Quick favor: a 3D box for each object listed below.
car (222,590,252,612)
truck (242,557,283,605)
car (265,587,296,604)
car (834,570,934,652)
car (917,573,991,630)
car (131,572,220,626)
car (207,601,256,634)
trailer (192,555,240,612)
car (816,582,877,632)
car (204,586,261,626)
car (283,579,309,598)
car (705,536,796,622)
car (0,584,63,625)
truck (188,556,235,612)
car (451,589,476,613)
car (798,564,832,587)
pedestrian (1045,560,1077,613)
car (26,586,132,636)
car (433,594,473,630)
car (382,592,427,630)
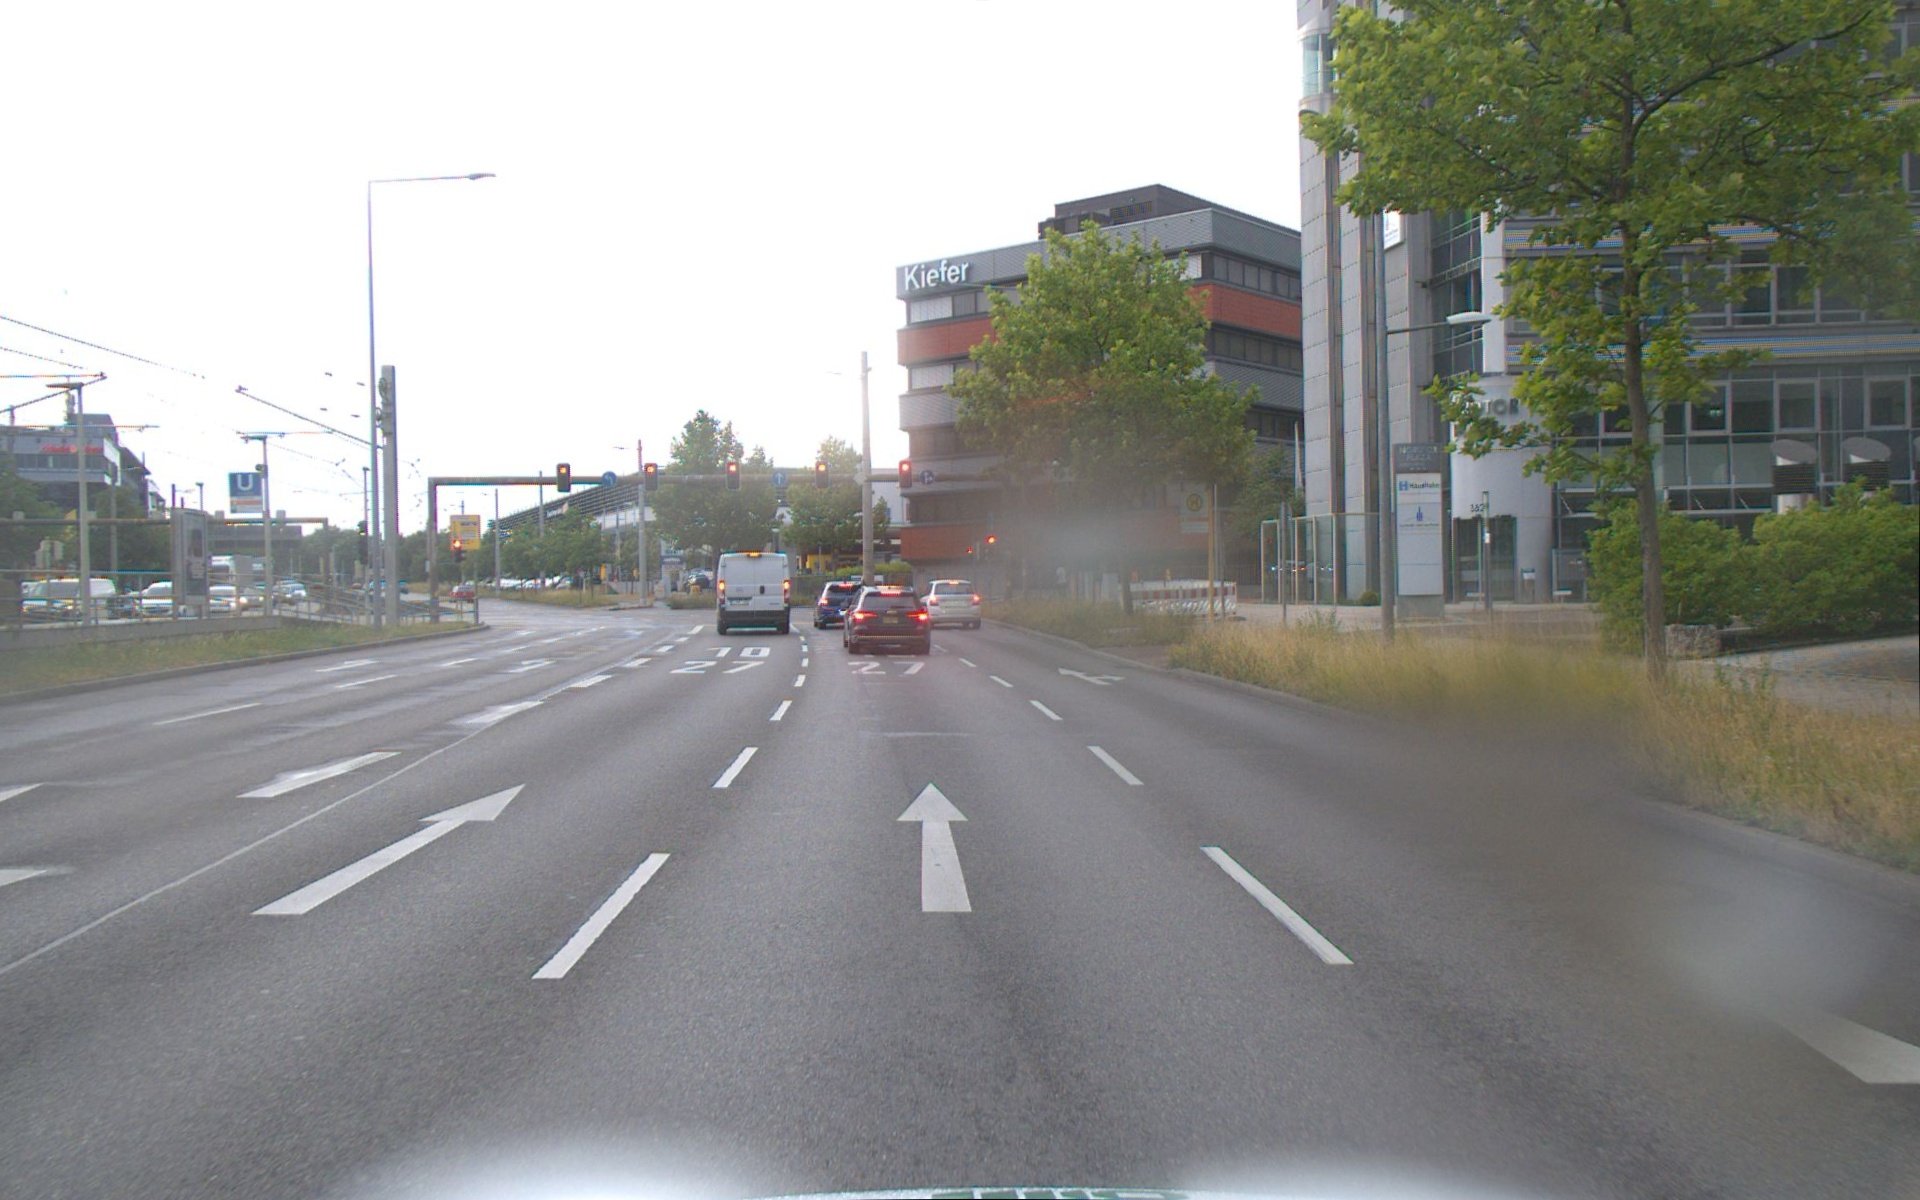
[{"bbox_3d":[-51.462,0.066,117.735,1.714,1.488,4.126,1,0,-21],"label":"car"},{"bbox_3d":[-63.637,-1.728,150.918,2.623,4.202,6.158,-1,0,-16],"label":"truck"},{"bbox_3d":[-55.823,-0.349,136.007,1.877,1.286,4.394,1,0,-16],"label":"car"},{"bbox_3d":[-1.733,0.241,36.483,1.955,1.666,3.995,1,0,-6],"label":"car"},{"bbox_3d":[-0.224,0.054,51.199,1.794,1.685,3.993,0,0,-7],"label":"car"},{"bbox_3d":[-34.496,-0.023,72.873,1.956,2.253,5.135,1,0,-7],"label":"car"},{"bbox_3d":[-38.757,0.940,88.042,1.501,1.696,4.255,1,0,-12],"label":"car"},{"bbox_3d":[-58.201,-1.296,129.541,2.755,4.178,11.369,-2,1,-21],"label":"trailer"},{"bbox_3d":[-3.623,0.214,52.716,1.857,1.491,3.905,-1,0,-5],"label":"car"},{"bbox_3d":[-38.623,0.338,87.861,1.740,2.049,4.337,1,0,-10],"label":"car"},{"bbox_3d":[-61.586,-1.077,153.396,1.857,1.681,4.076,1,0,-17],"label":"car"},{"bbox_3d":[-6.174,-0.566,48.240,2.400,2.334,4.893,1,0,-10],"label":"car"},{"bbox_3d":[-40.629,0.191,71.397,2.068,1.730,4.652,1,0,-12],"label":"car"},{"bbox_3d":[-56.201,-1.210,124.338,2.791,4.065,5.949,-1,1,-21],"label":"truck"},{"bbox_3d":[-42.923,0.101,143.055,1.747,2.049,4.320,1,0,-21],"label":"car"},{"bbox_3d":[-13.331,-2.231,151.760,1.848,2.049,3.741,1,-1,-27],"label":"car"},{"bbox_3d":[4.300,-0.592,70.271,1.121,2.162,1.221,-2,2,-6],"label":"pedestrian"},{"bbox_3d":[-32.520,0.403,61.194,1.957,1.761,5.018,1,0,-10],"label":"car"},{"bbox_3d":[-30.850,0.697,100.755,1.740,2.049,4.338,1,1,-9],"label":"car"},{"bbox_3d":[-32.101,0.611,95.598,1.740,2.049,4.338,1,1,-9],"label":"car"}]
